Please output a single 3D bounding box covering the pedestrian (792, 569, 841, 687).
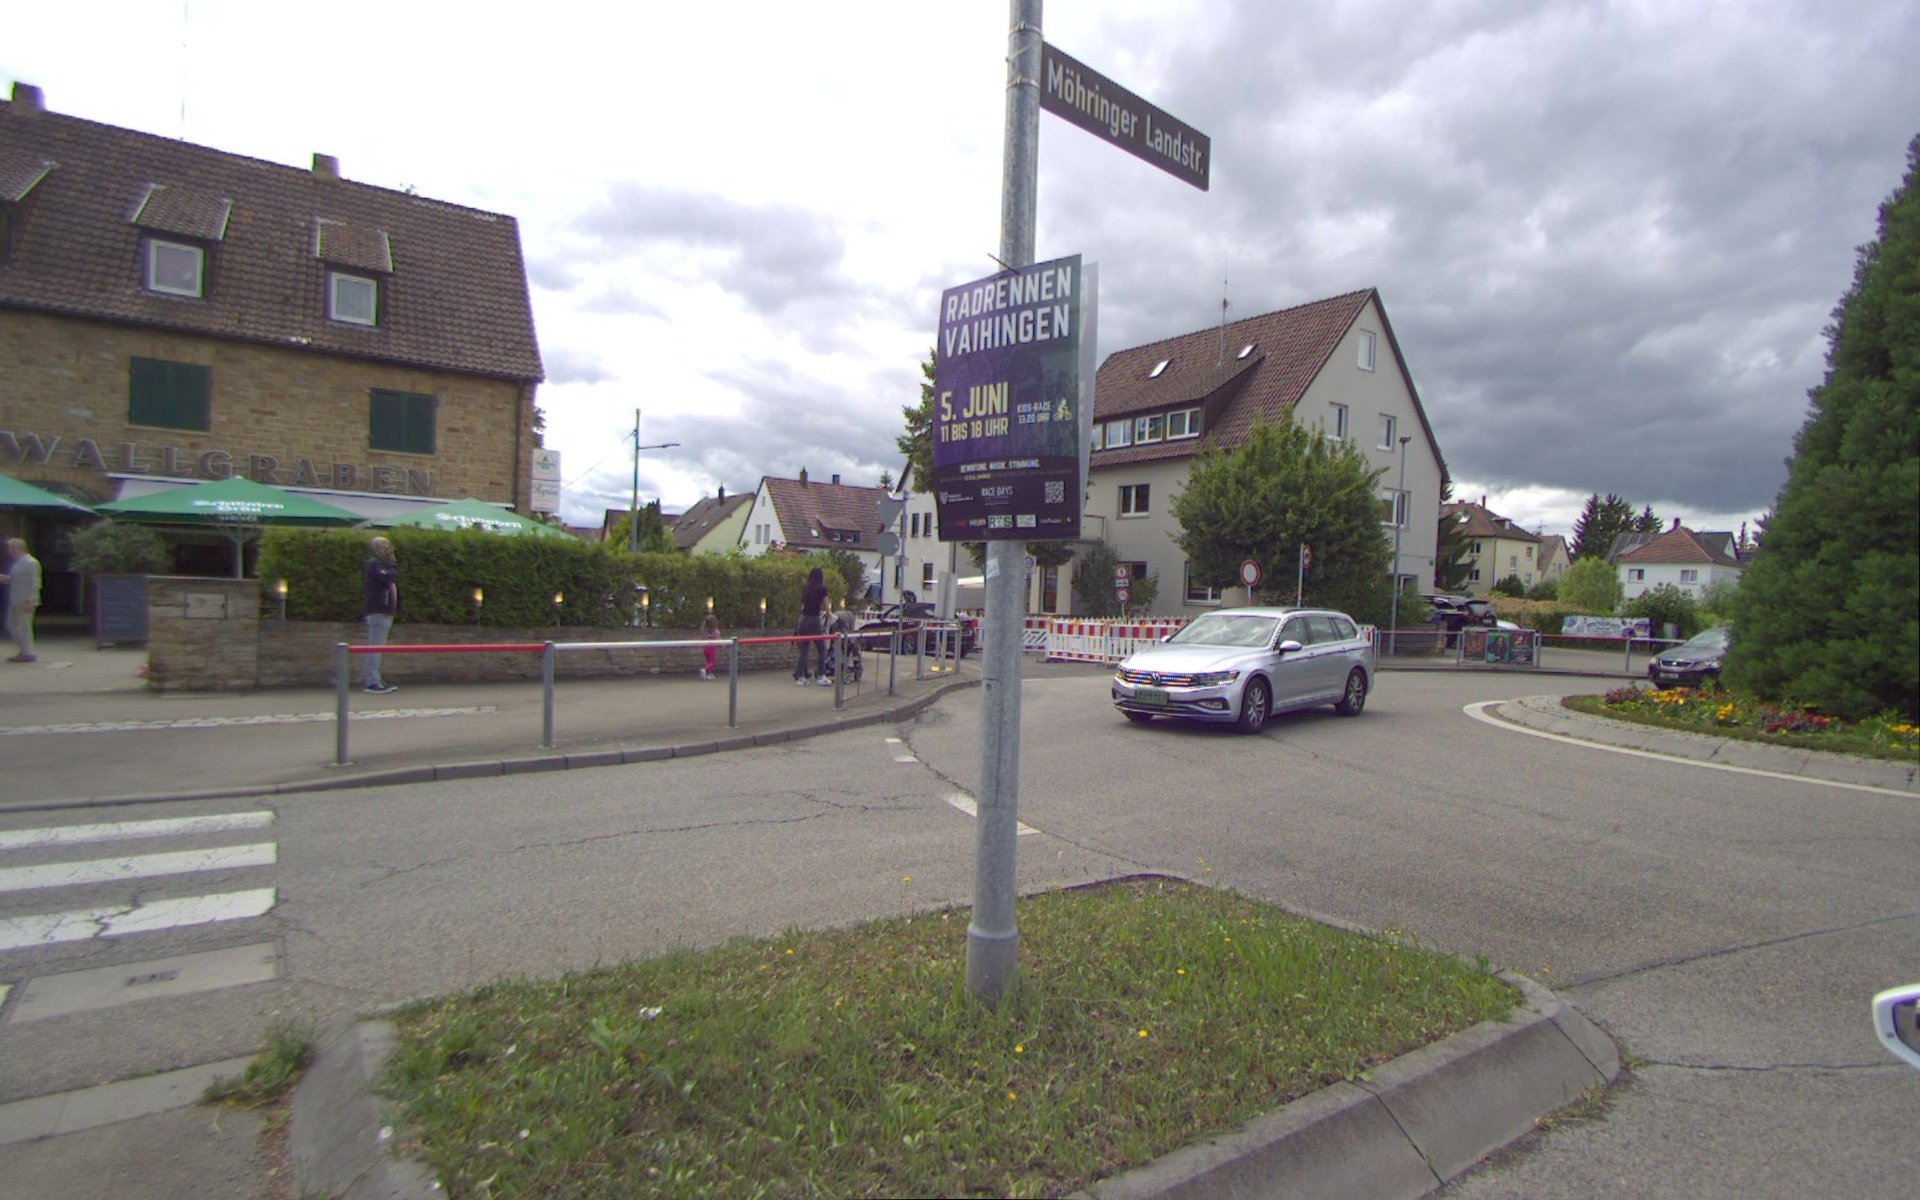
[{"bbox_3d":[-2.123,0.407,14.867,0.473,1.692,0.515,2,1,23],"label":"pedestrian"}]

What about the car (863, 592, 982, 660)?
[{"bbox_3d":[-1.091,0.659,27.419,1.558,1.656,3.586,1,1,-35],"label":"car"}]

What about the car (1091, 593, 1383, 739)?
[{"bbox_3d":[3.786,0.763,13.286,4.232,1.581,1.850,1,0,-45],"label":"car"}]

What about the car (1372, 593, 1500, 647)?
[{"bbox_3d":[15.725,0.643,33.359,1.581,1.632,3.572,1,0,-29],"label":"car"}]

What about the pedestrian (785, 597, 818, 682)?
[{"bbox_3d":[-2.417,0.598,15.329,0.336,1.261,0.354,2,1,24],"label":"pedestrian"}]

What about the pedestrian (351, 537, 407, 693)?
[{"bbox_3d":[-6.926,0.175,11.990,0.534,1.808,0.558,1,1,-30],"label":"pedestrian"}]

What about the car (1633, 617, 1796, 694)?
[{"bbox_3d":[16.790,1.200,22.331,3.557,1.530,1.587,2,1,-30],"label":"car"}]

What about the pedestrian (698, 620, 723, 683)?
[{"bbox_3d":[-3.652,0.747,14.703,0.234,0.906,0.259,2,1,23],"label":"pedestrian"}]

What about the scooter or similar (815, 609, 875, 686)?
[{"bbox_3d":[-1.773,0.721,15.551,0.399,1.110,0.969,5,3,26],"label":"scooter or similar"}]

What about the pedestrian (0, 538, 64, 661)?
[{"bbox_3d":[-12.924,-0.009,13.896,0.605,1.665,0.453,2,1,-5],"label":"pedestrian"}]

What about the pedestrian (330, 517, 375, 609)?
[{"bbox_3d":[-12.262,-0.737,20.287,0.563,1.808,0.642,2,1,-15],"label":"pedestrian"}]
